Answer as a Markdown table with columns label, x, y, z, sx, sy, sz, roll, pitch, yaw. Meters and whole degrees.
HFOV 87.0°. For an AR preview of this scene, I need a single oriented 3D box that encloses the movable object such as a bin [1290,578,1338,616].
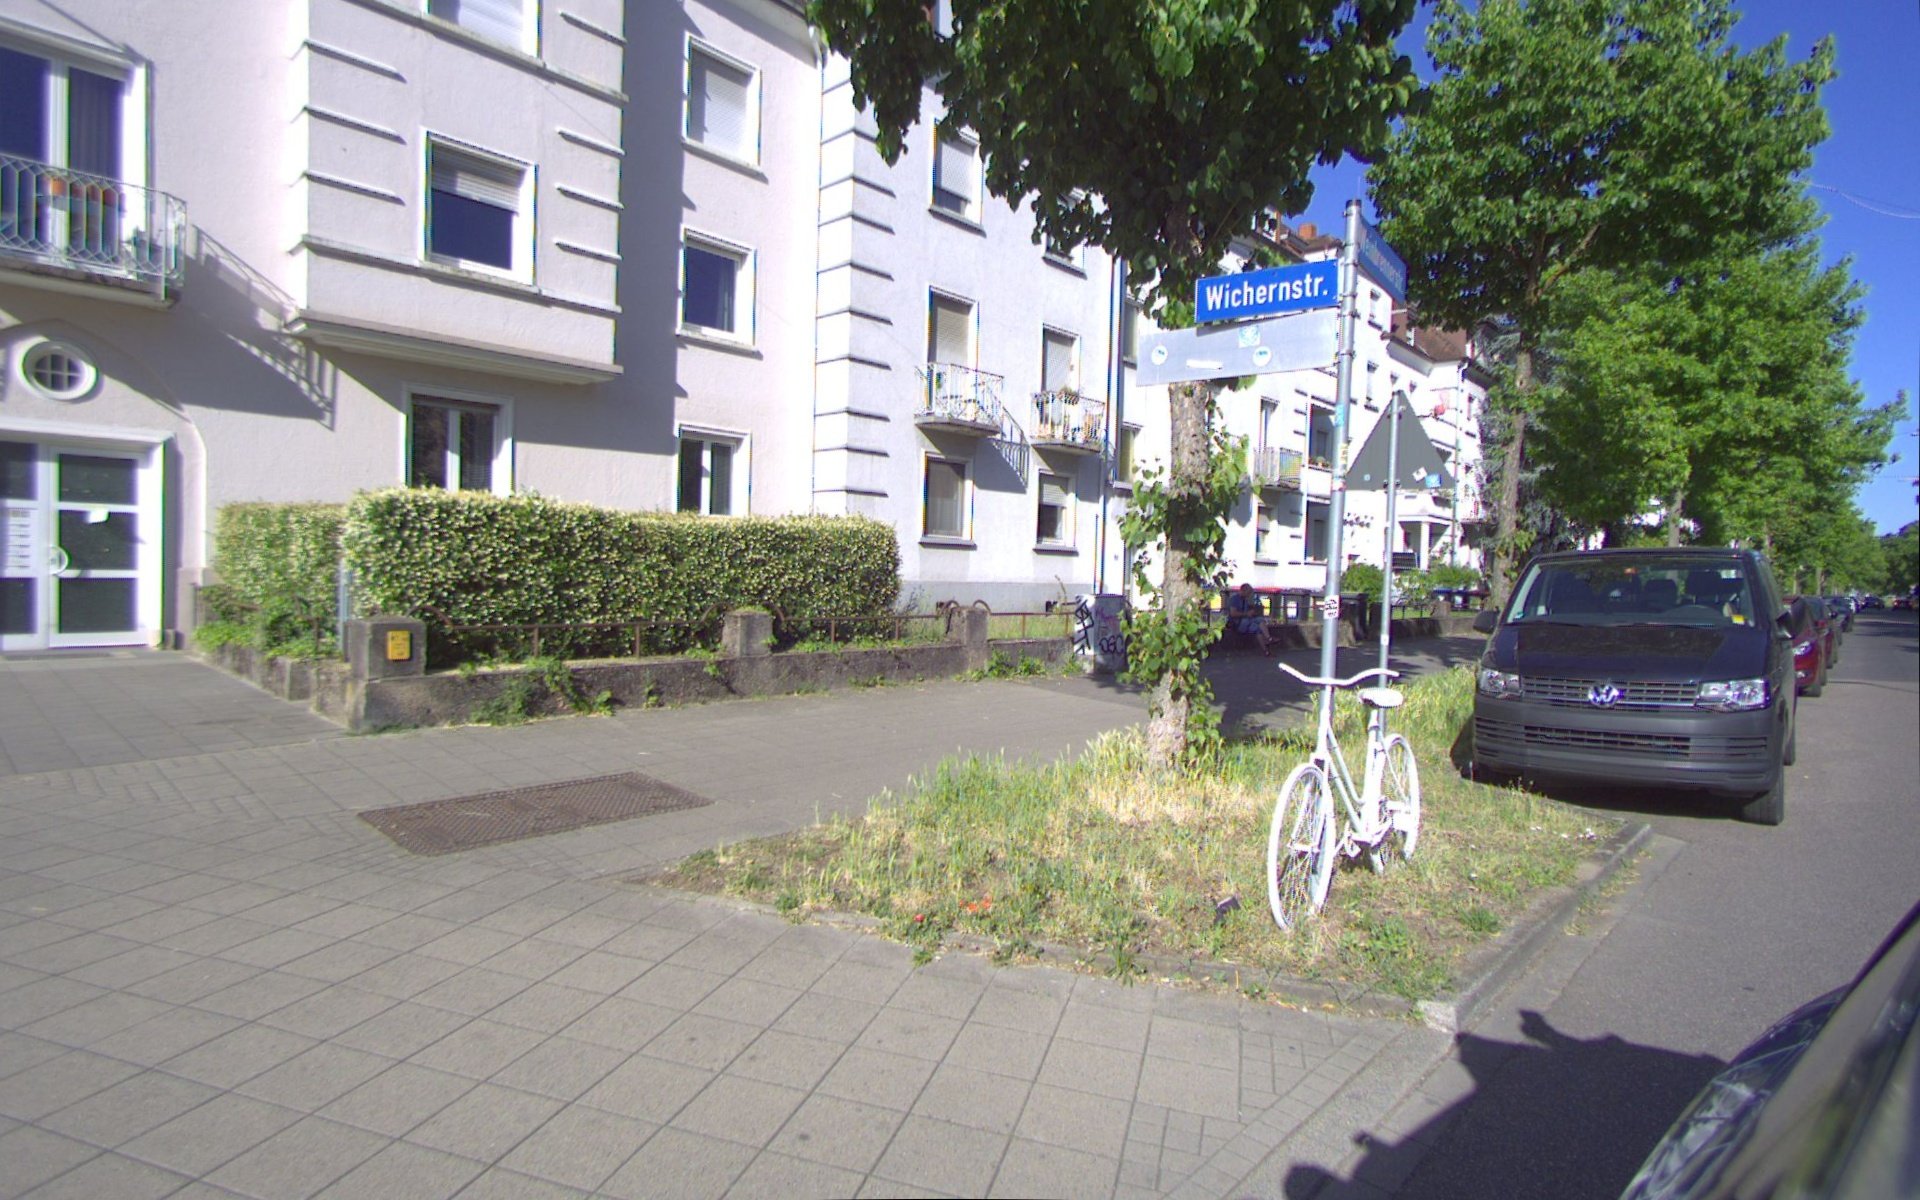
| label | x | y | z | sx | sy | sz | roll | pitch | yaw |
| --- | --- | --- | --- | --- | --- | --- | --- | --- | --- |
| movable object such as a bin | 8.203 | -0.073 | 23.442 | 0.752 | 0.873 | 0.776 | -1 | 1 | -42 |

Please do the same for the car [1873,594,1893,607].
| label | x | y | z | sx | sy | sz | roll | pitch | yaw |
| --- | --- | --- | --- | --- | --- | --- | --- | --- | --- |
| car | 119.479 | 0.027 | 131.069 | 1.763 | 1.514 | 3.727 | 3 | 2 | 41 |

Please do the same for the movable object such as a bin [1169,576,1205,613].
| label | x | y | z | sx | sy | sz | roll | pitch | yaw |
| --- | --- | --- | --- | --- | --- | --- | --- | --- | --- |
| movable object such as a bin | 5.783 | -0.145 | 25.795 | 0.586 | 0.933 | 0.671 | -1 | 1 | -42 |

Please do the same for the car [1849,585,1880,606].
| label | x | y | z | sx | sy | sz | roll | pitch | yaw |
| --- | --- | --- | --- | --- | --- | --- | --- | --- | --- |
| car | 76.901 | -0.414 | 86.052 | 1.886 | 1.654 | 3.829 | 3 | 2 | 43 |

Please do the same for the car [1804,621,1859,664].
| label | x | y | z | sx | sy | sz | roll | pitch | yaw |
| --- | --- | --- | --- | --- | --- | --- | --- | --- | --- |
| car | 34.408 | 1.647 | 39.996 | 1.603 | 1.441 | 3.957 | 0 | 1 | 40 |

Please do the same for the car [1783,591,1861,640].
| label | x | y | z | sx | sy | sz | roll | pitch | yaw |
| --- | --- | --- | --- | --- | --- | --- | --- | --- | --- |
| car | 27.600 | 0.455 | 32.387 | 1.763 | 1.415 | 3.639 | 0 | 1 | 43 |

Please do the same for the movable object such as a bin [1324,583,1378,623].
| label | x | y | z | sx | sy | sz | roll | pitch | yaw |
| --- | --- | --- | --- | --- | --- | --- | --- | --- | --- |
| movable object such as a bin | 8.820 | 0.065 | 22.816 | 0.993 | 0.873 | 0.776 | -1 | 1 | -42 |

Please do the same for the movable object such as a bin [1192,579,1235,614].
| label | x | y | z | sx | sy | sz | roll | pitch | yaw |
| --- | --- | --- | --- | --- | --- | --- | --- | --- | --- |
| movable object such as a bin | 6.295 | -0.089 | 25.137 | 0.730 | 0.832 | 0.776 | -1 | 1 | -42 |

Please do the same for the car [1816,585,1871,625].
| label | x | y | z | sx | sy | sz | roll | pitch | yaw |
| --- | --- | --- | --- | --- | --- | --- | --- | --- | --- |
| car | 39.289 | 0.177 | 45.054 | 1.762 | 1.657 | 3.957 | 0 | 1 | 41 |

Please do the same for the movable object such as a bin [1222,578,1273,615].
| label | x | y | z | sx | sy | sz | roll | pitch | yaw |
| --- | --- | --- | --- | --- | --- | --- | --- | --- | --- |
| movable object such as a bin | 6.998 | -0.081 | 24.639 | 0.993 | 0.873 | 0.777 | -1 | 1 | -42 |

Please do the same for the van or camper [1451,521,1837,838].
| label | x | y | z | sx | sy | sz | roll | pitch | yaw |
| --- | --- | --- | --- | --- | --- | --- | --- | --- | --- |
| van or camper | 6.105 | 0.418 | 8.669 | 1.988 | 1.886 | 5.305 | 0 | 1 | 42 |

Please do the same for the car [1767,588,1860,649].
| label | x | y | z | sx | sy | sz | roll | pitch | yaw |
| --- | --- | --- | --- | --- | --- | --- | --- | --- | --- |
| car | 23.675 | 0.458 | 28.016 | 1.711 | 1.424 | 4.421 | 4 | 4 | 43 |

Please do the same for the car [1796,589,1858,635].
| label | x | y | z | sx | sy | sz | roll | pitch | yaw |
| --- | --- | --- | --- | --- | --- | --- | --- | --- | --- |
| car | 30.707 | 0.375 | 35.877 | 1.603 | 1.482 | 3.815 | 0 | 1 | 40 |

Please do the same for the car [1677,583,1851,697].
| label | x | y | z | sx | sy | sz | roll | pitch | yaw |
| --- | --- | --- | --- | --- | --- | --- | --- | --- | --- |
| car | 13.941 | 0.552 | 17.424 | 1.899 | 1.633 | 4.894 | 2 | 2 | 44 |

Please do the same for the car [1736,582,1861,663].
| label | x | y | z | sx | sy | sz | roll | pitch | yaw |
| --- | --- | --- | --- | --- | --- | --- | --- | --- | --- |
| car | 19.784 | 0.434 | 23.802 | 1.930 | 1.586 | 4.523 | 5 | 5 | 43 |

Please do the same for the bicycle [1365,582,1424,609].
| label | x | y | z | sx | sy | sz | roll | pitch | yaw |
| --- | --- | --- | --- | --- | --- | --- | --- | --- | --- |
| bicycle | 17.045 | -0.190 | 39.734 | 0.549 | 0.929 | 2.034 | -1 | 4 | -42 |

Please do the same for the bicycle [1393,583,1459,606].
| label | x | y | z | sx | sy | sz | roll | pitch | yaw |
| --- | --- | --- | --- | --- | --- | --- | --- | --- | --- |
| bicycle | 16.845 | -0.195 | 36.597 | 2.060 | 0.779 | 0.616 | -2 | -1 | 44 |

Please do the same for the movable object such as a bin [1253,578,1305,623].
| label | x | y | z | sx | sy | sz | roll | pitch | yaw |
| --- | --- | --- | --- | --- | --- | --- | --- | --- | --- |
| movable object such as a bin | 7.562 | 0.005 | 24.005 | 0.993 | 1.039 | 0.776 | -1 | 1 | -42 |

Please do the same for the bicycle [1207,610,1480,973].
| label | x | y | z | sx | sy | sz | roll | pitch | yaw |
| --- | --- | --- | --- | --- | --- | --- | --- | --- | --- |
| bicycle | 1.792 | 0.687 | 4.517 | 0.527 | 1.208 | 2.002 | 2 | 2 | 39 |

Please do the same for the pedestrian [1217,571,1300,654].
| label | x | y | z | sx | sy | sz | roll | pitch | yaw |
| --- | --- | --- | --- | --- | --- | --- | --- | --- | --- |
| pedestrian | 4.936 | 0.186 | 16.737 | 1.081 | 1.311 | 0.807 | 0 | 1 | 42 |
